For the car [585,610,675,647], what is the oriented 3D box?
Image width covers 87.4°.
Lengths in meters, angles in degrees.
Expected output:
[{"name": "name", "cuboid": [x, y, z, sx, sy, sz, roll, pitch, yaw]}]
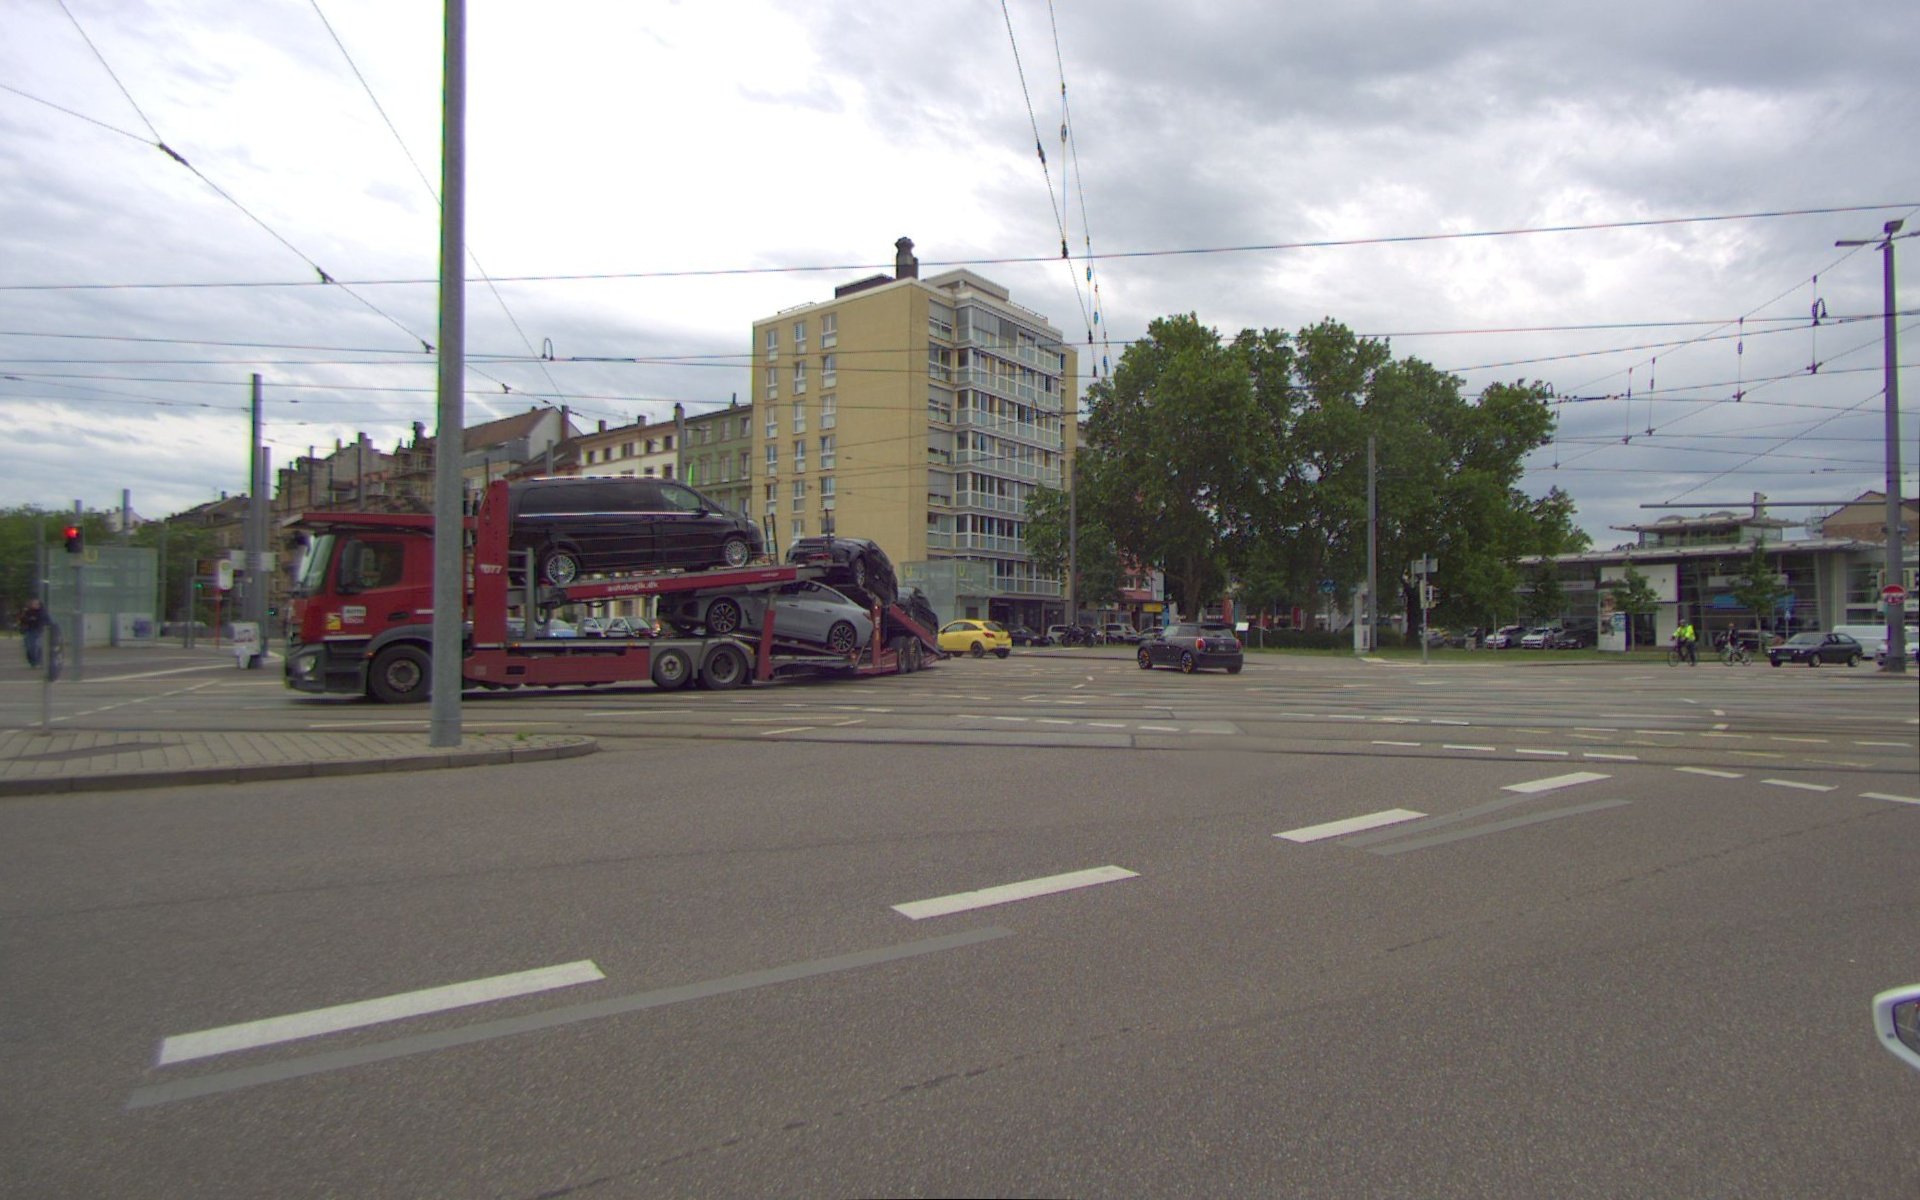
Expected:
[{"name": "car", "cuboid": [-14.427, 1.213, 43.909, 3.561, 1.513, 1.994, 0, -1, 35]}]

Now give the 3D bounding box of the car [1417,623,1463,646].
[{"name": "car", "cuboid": [43.542, 3.116, 91.095, 3.955, 2.040, 1.983, 2, 0, -31]}]

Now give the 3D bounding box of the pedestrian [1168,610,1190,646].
[{"name": "pedestrian", "cuboid": [10.991, 1.409, 50.448, 0.898, 1.742, 0.706, 1, 0, 26]}]

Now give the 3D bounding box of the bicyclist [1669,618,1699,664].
[{"name": "bicyclist", "cuboid": [29.149, 1.640, 40.470, 0.784, 1.827, 0.628, 1, -1, -15]}]

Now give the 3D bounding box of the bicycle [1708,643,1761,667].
[{"name": "bicycle", "cuboid": [31.901, 2.254, 41.383, 2.186, 0.938, 0.518, 0, -1, -16]}]

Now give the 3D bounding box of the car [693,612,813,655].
[{"name": "car", "cuboid": [-7.886, 1.239, 38.151, 4.606, 1.513, 1.992, -1, -2, 39]}]

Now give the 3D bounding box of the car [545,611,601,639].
[{"name": "car", "cuboid": [-26.336, 1.680, 68.546, 2.039, 1.778, 4.002, 1, 0, 4]}]

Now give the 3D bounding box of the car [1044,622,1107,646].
[{"name": "car", "cuboid": [8.120, 2.380, 70.631, 3.934, 1.572, 1.994, -1, -2, 35]}]

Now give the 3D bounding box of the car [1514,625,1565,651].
[{"name": "car", "cuboid": [48.341, 3.147, 83.759, 3.955, 2.040, 1.983, 2, 0, -31]}]

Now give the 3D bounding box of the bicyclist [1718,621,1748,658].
[{"name": "bicyclist", "cuboid": [31.852, 1.616, 41.380, 0.842, 1.528, 0.566, -1, -1, -15]}]

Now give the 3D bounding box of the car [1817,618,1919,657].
[{"name": "car", "cuboid": [51.345, 2.057, 56.217, 2.088, 2.040, 4.761, 1, 0, -19]}]

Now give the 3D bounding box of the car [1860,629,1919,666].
[{"name": "car", "cuboid": [38.578, 1.923, 40.708, 3.680, 1.439, 1.633, 1, -1, -20]}]

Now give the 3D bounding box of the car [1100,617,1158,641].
[{"name": "car", "cuboid": [12.924, 2.220, 76.916, 3.933, 1.728, 1.994, 1, 0, 34]}]

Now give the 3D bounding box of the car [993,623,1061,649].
[{"name": "car", "cuboid": [4.282, 2.282, 64.250, 3.934, 1.572, 1.994, -1, -2, 35]}]

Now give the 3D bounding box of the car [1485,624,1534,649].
[{"name": "car", "cuboid": [46.981, 3.152, 85.866, 3.955, 2.040, 1.983, 2, 0, -31]}]

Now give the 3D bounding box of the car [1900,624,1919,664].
[{"name": "car", "cuboid": [37.267, 1.637, 37.033, 4.591, 1.439, 1.991, 1, -1, -20]}]

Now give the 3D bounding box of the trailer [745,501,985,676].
[{"name": "trailer", "cuboid": [-2.196, -0.212, 28.187, 2.937, 4.026, 9.555, 1, -1, 19]}]

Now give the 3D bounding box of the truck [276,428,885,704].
[{"name": "truck", "cuboid": [-6.491, -0.376, 19.019, 10.376, 3.972, 2.979, 2, -1, -41]}]

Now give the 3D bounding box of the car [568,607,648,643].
[{"name": "car", "cuboid": [-18.101, 1.267, 51.679, 3.935, 1.751, 1.993, 1, 0, 36]}]

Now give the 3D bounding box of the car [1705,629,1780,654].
[{"name": "car", "cuboid": [45.251, 2.394, 58.080, 3.677, 1.439, 1.635, 1, -1, -17]}]

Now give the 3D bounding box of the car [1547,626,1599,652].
[{"name": "car", "cuboid": [49.594, 3.153, 81.205, 3.955, 2.040, 1.983, 2, 0, -31]}]

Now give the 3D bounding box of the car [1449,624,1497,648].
[{"name": "car", "cuboid": [45.089, 3.139, 88.335, 3.955, 2.040, 1.983, 2, 0, -31]}]

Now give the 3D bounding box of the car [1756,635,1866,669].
[{"name": "car", "cuboid": [33.387, 2.020, 39.422, 3.680, 1.263, 1.684, 1, -1, -20]}]

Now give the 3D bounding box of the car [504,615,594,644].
[{"name": "car", "cuboid": [-19.311, 1.372, 47.144, 3.931, 1.327, 1.995, 0, -1, 32]}]

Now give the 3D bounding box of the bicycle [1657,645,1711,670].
[{"name": "bicycle", "cuboid": [29.197, 2.311, 40.529, 2.186, 0.942, 0.518, 0, -1, -16]}]

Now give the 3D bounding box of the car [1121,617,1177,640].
[{"name": "car", "cuboid": [15.153, 2.254, 80.440, 3.933, 1.728, 1.994, 1, 0, 34]}]

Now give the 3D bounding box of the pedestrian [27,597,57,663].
[{"name": "pedestrian", "cuboid": [-22.956, 0.745, 25.115, 0.476, 1.632, 0.421, 1, -1, -37]}]

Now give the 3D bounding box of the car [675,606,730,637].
[{"name": "car", "cuboid": [-15.576, 1.310, 61.035, 2.039, 1.778, 4.002, 1, 0, 4]}]

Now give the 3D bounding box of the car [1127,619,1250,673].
[{"name": "car", "cuboid": [6.639, 1.303, 29.583, 1.747, 1.488, 3.984, 1, -1, -18]}]

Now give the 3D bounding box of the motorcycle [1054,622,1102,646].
[{"name": "motorcycle", "cuboid": [6.360, 1.816, 54.230, 2.508, 1.194, 0.861, 1, 0, 39]}]

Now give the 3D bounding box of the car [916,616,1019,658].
[{"name": "car", "cuboid": [0.279, 1.435, 40.266, 3.943, 1.514, 1.813, 1, 0, 43]}]

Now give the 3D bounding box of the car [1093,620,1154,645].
[{"name": "car", "cuboid": [11.902, 2.348, 73.335, 3.933, 1.728, 1.994, 1, 0, 34]}]
